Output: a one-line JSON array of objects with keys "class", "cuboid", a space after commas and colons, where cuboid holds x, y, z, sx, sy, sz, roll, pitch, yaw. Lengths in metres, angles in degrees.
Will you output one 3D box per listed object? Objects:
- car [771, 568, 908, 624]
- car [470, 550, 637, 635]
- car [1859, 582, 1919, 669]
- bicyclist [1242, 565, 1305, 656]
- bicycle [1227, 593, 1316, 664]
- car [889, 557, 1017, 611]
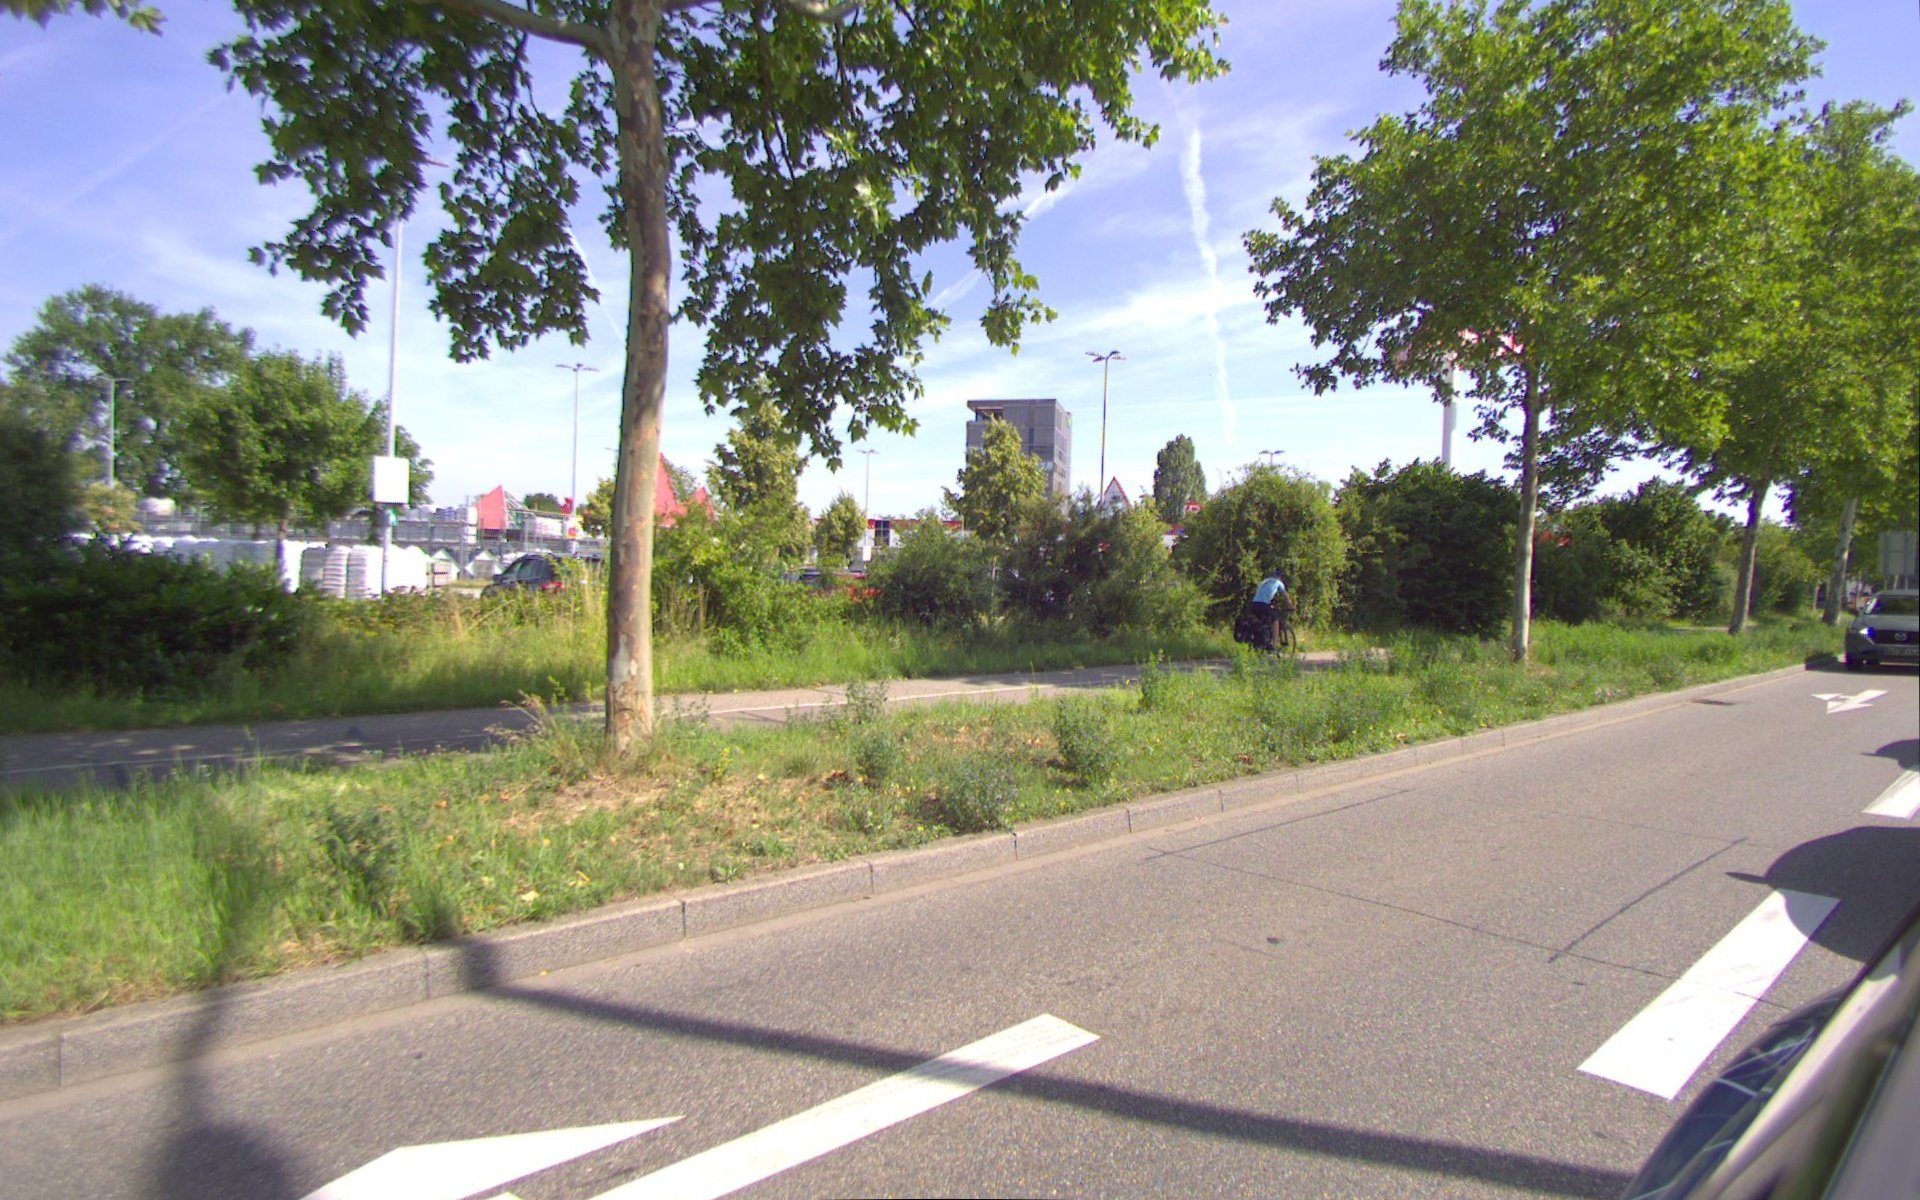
[{"class": "car", "cuboid": [-3.231, -0.147, 26.819, 3.553, 1.316, 1.740, 3, 2, 43]}, {"class": "car", "cuboid": [-8.637, -0.215, 21.356, 3.850, 1.604, 1.821, 3, 2, 43]}, {"class": "car", "cuboid": [20.035, 0.477, 20.858, 4.418, 1.680, 1.768, 0, 0, -42]}, {"class": "bicyclist", "cuboid": [5.926, 0.185, 19.124, 0.984, 1.651, 0.686, 0, 2, -41]}, {"class": "bicycle", "cuboid": [5.903, 0.505, 19.121, 1.900, 1.252, 0.686, 0, 2, -41]}, {"class": "car", "cuboid": [-0.190, -0.527, 32.590, 3.801, 1.604, 1.844, 2, 2, 11]}]
